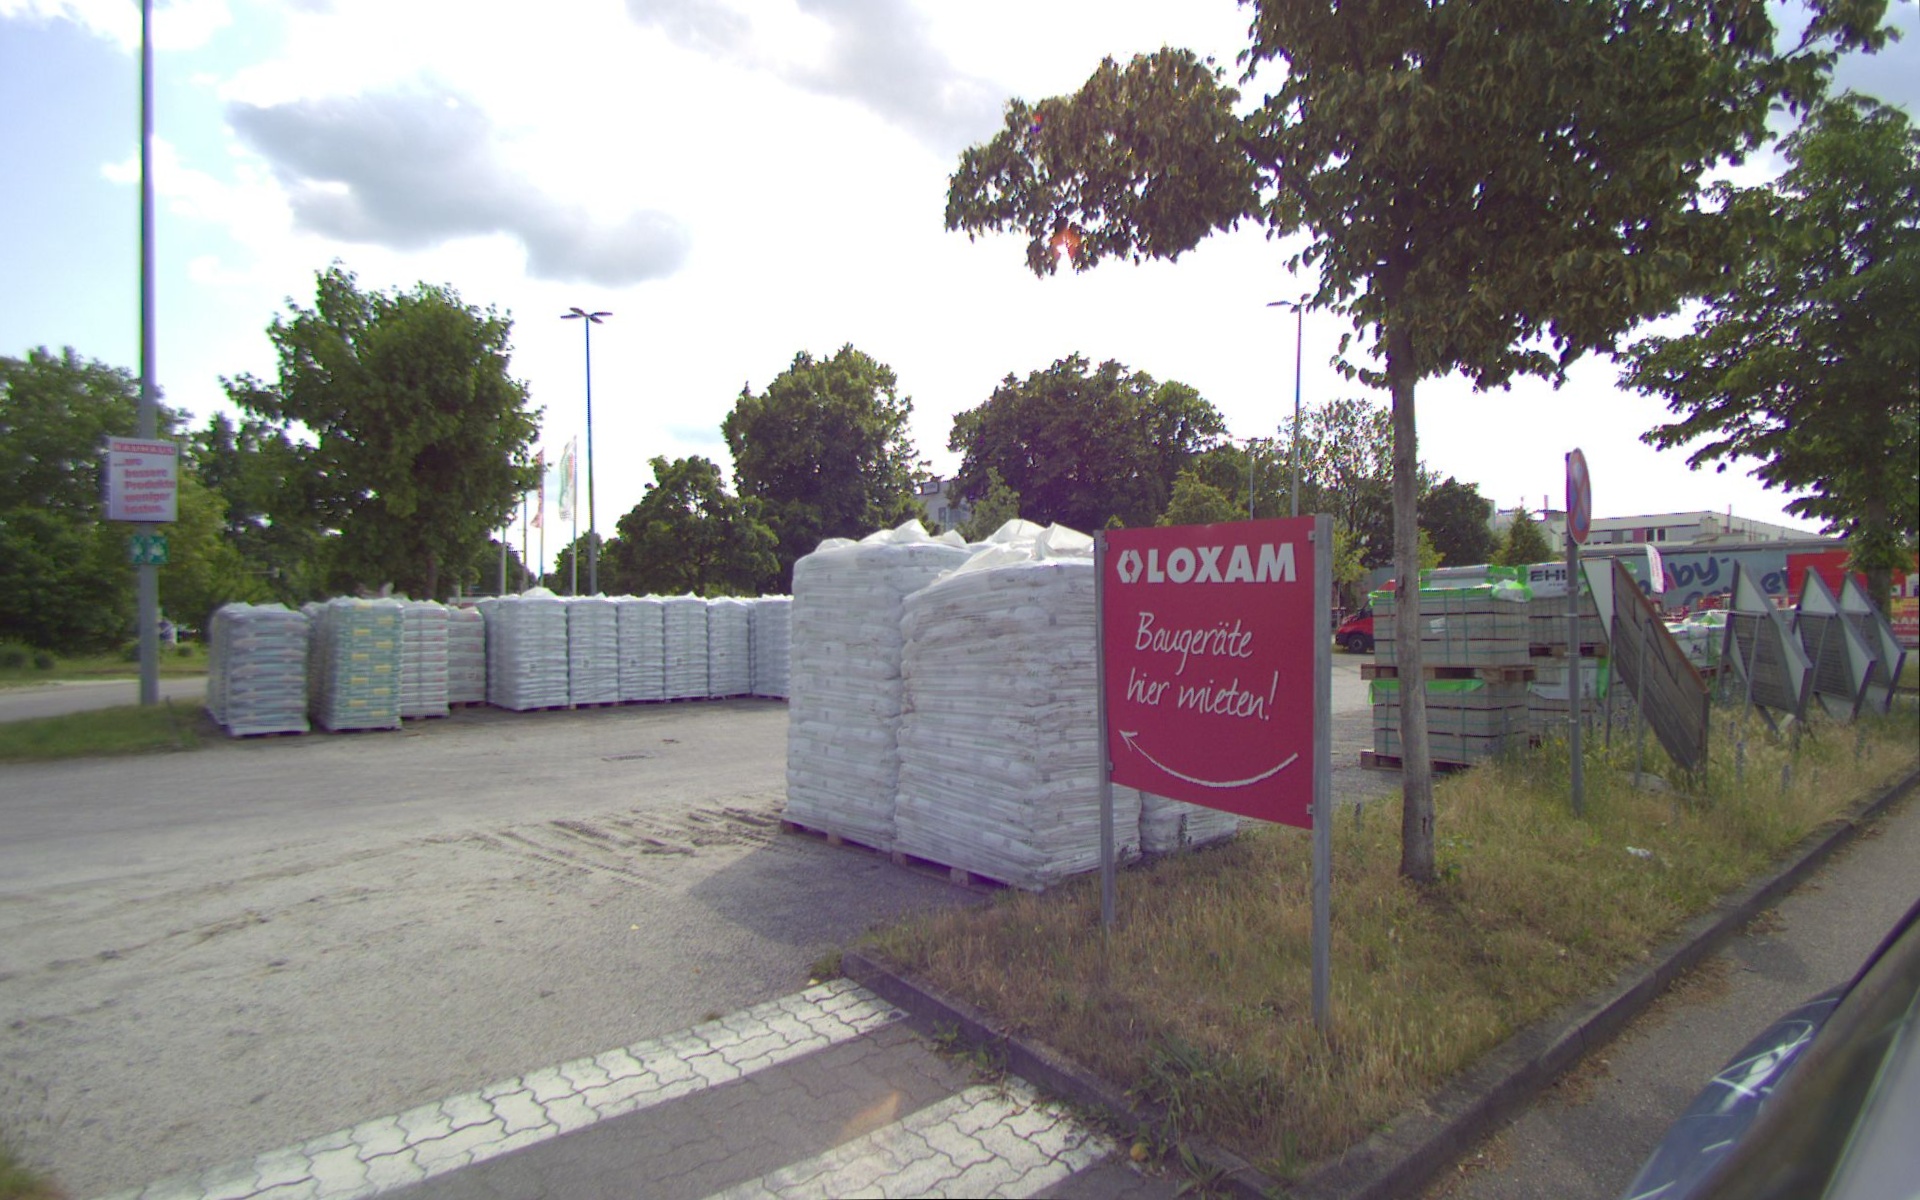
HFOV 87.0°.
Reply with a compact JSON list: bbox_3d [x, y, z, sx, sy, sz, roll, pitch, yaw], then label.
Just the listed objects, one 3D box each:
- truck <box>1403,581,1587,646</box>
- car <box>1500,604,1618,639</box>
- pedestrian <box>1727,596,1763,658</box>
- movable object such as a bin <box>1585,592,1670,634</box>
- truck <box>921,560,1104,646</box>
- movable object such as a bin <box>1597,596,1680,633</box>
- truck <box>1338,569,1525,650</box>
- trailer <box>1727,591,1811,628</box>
[{"bbox_3d":[20.235,0.509,38.524,2.136,2.284,5.851,1,-1,-42],"label":"truck"},{"bbox_3d":[25.830,0.887,43.741,1.592,1.432,4.134,0,0,-45],"label":"car"},{"bbox_3d":[22.215,0.749,28.648,0.863,1.713,0.600,-1,0,-38],"label":"pedestrian"},{"bbox_3d":[30.885,0.621,46.861,1.364,1.867,3.008,1,-1,-39],"label":"movable object such as a bin"},{"bbox_3d":[2.563,0.149,46.587,8.871,3.644,2.728,1,-1,-38],"label":"truck"},{"bbox_3d":[32.305,0.698,48.248,1.364,1.691,3.008,1,-1,-39],"label":"movable object such as a bin"},{"bbox_3d":[16.017,0.328,34.636,2.080,2.547,5.434,1,-1,-42],"label":"truck"},{"bbox_3d":[56.072,0.640,70.174,1.738,2.448,4.272,-3,2,-40],"label":"trailer"}]
